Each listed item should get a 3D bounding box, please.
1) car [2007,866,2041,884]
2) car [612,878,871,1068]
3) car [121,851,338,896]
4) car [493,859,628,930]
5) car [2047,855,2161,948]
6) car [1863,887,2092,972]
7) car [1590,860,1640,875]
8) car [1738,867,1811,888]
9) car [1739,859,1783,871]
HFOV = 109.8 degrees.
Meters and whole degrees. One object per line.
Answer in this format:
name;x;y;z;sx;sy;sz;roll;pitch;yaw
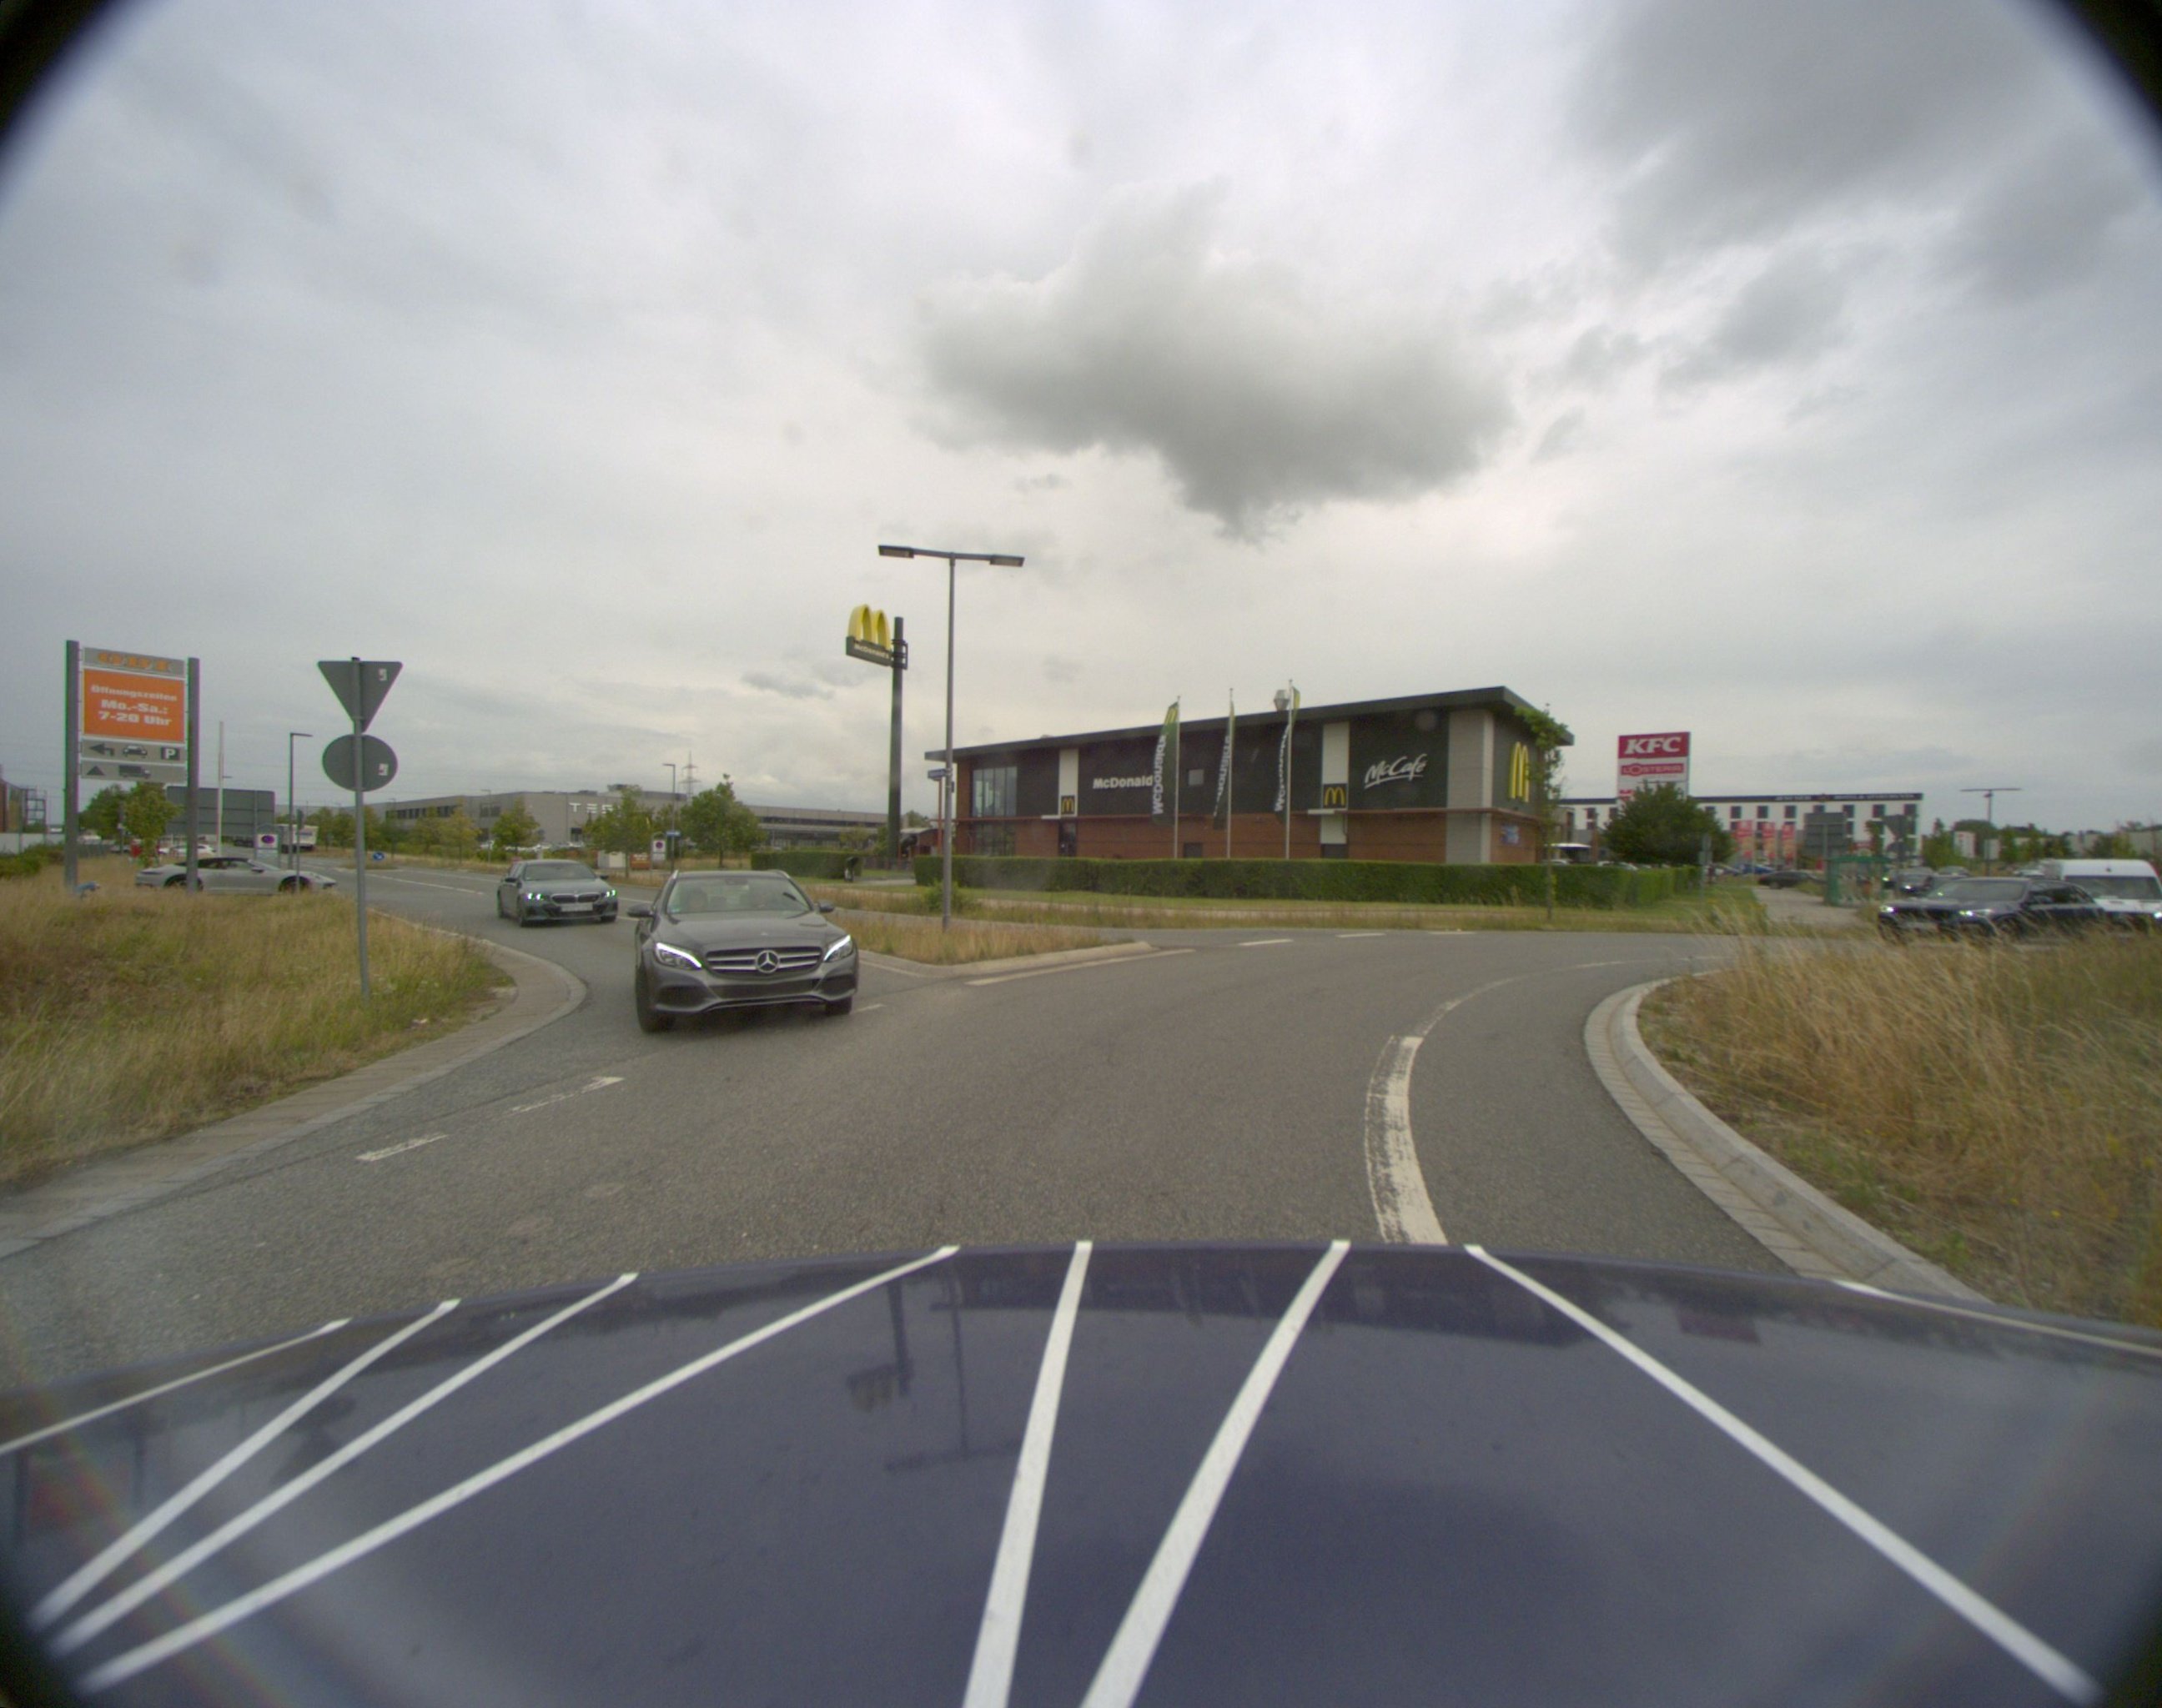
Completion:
car;78.988;1.791;63.641;4.653;1.400;1.723;2;0;-39
car;-3.855;0.985;8.275;1.931;1.395;4.678;-1;-1;-30
car;-28.649;0.655;25.852;4.769;1.395;1.739;1;-2;-43
car;-13.013;0.915;18.867;2.004;1.498;4.669;-1;0;-44
car;31.353;1.307;23.313;6.117;2.513;2.021;0;1;-38
car;19.786;1.589;16.808;4.003;1.598;1.865;0;1;-18
car;53.866;1.346;76.671;3.988;1.477;1.851;-1;0;37
car;53.080;1.772;58.236;3.988;1.477;1.851;-1;0;37
car;89.951;1.436;100.547;1.850;1.477;3.990;-1;0;-32
